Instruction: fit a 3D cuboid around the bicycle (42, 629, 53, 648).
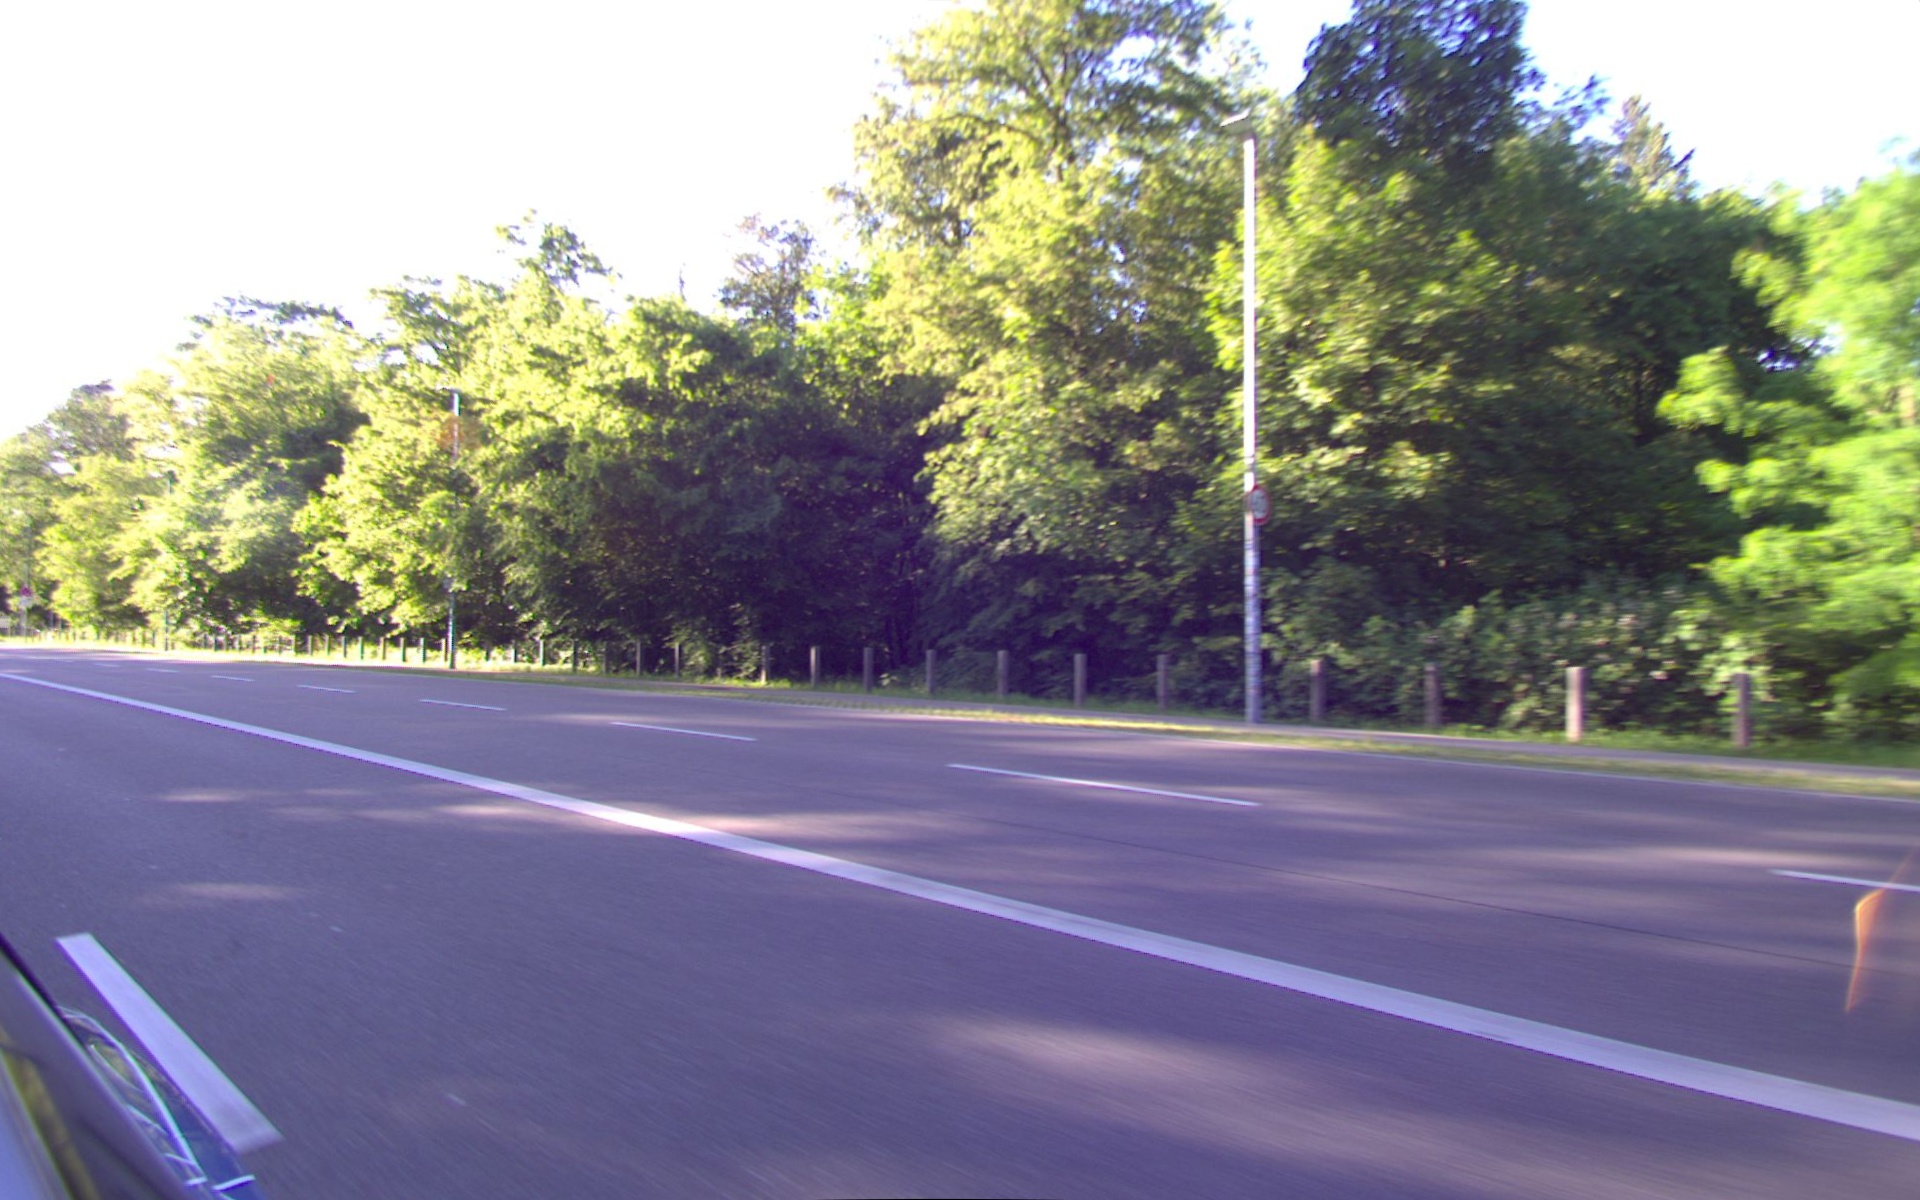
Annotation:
[{"bbox_3d":[-58.701,2.473,65.100,0.396,1.140,2.221,-1,0,-45],"label":"bicycle"}]
